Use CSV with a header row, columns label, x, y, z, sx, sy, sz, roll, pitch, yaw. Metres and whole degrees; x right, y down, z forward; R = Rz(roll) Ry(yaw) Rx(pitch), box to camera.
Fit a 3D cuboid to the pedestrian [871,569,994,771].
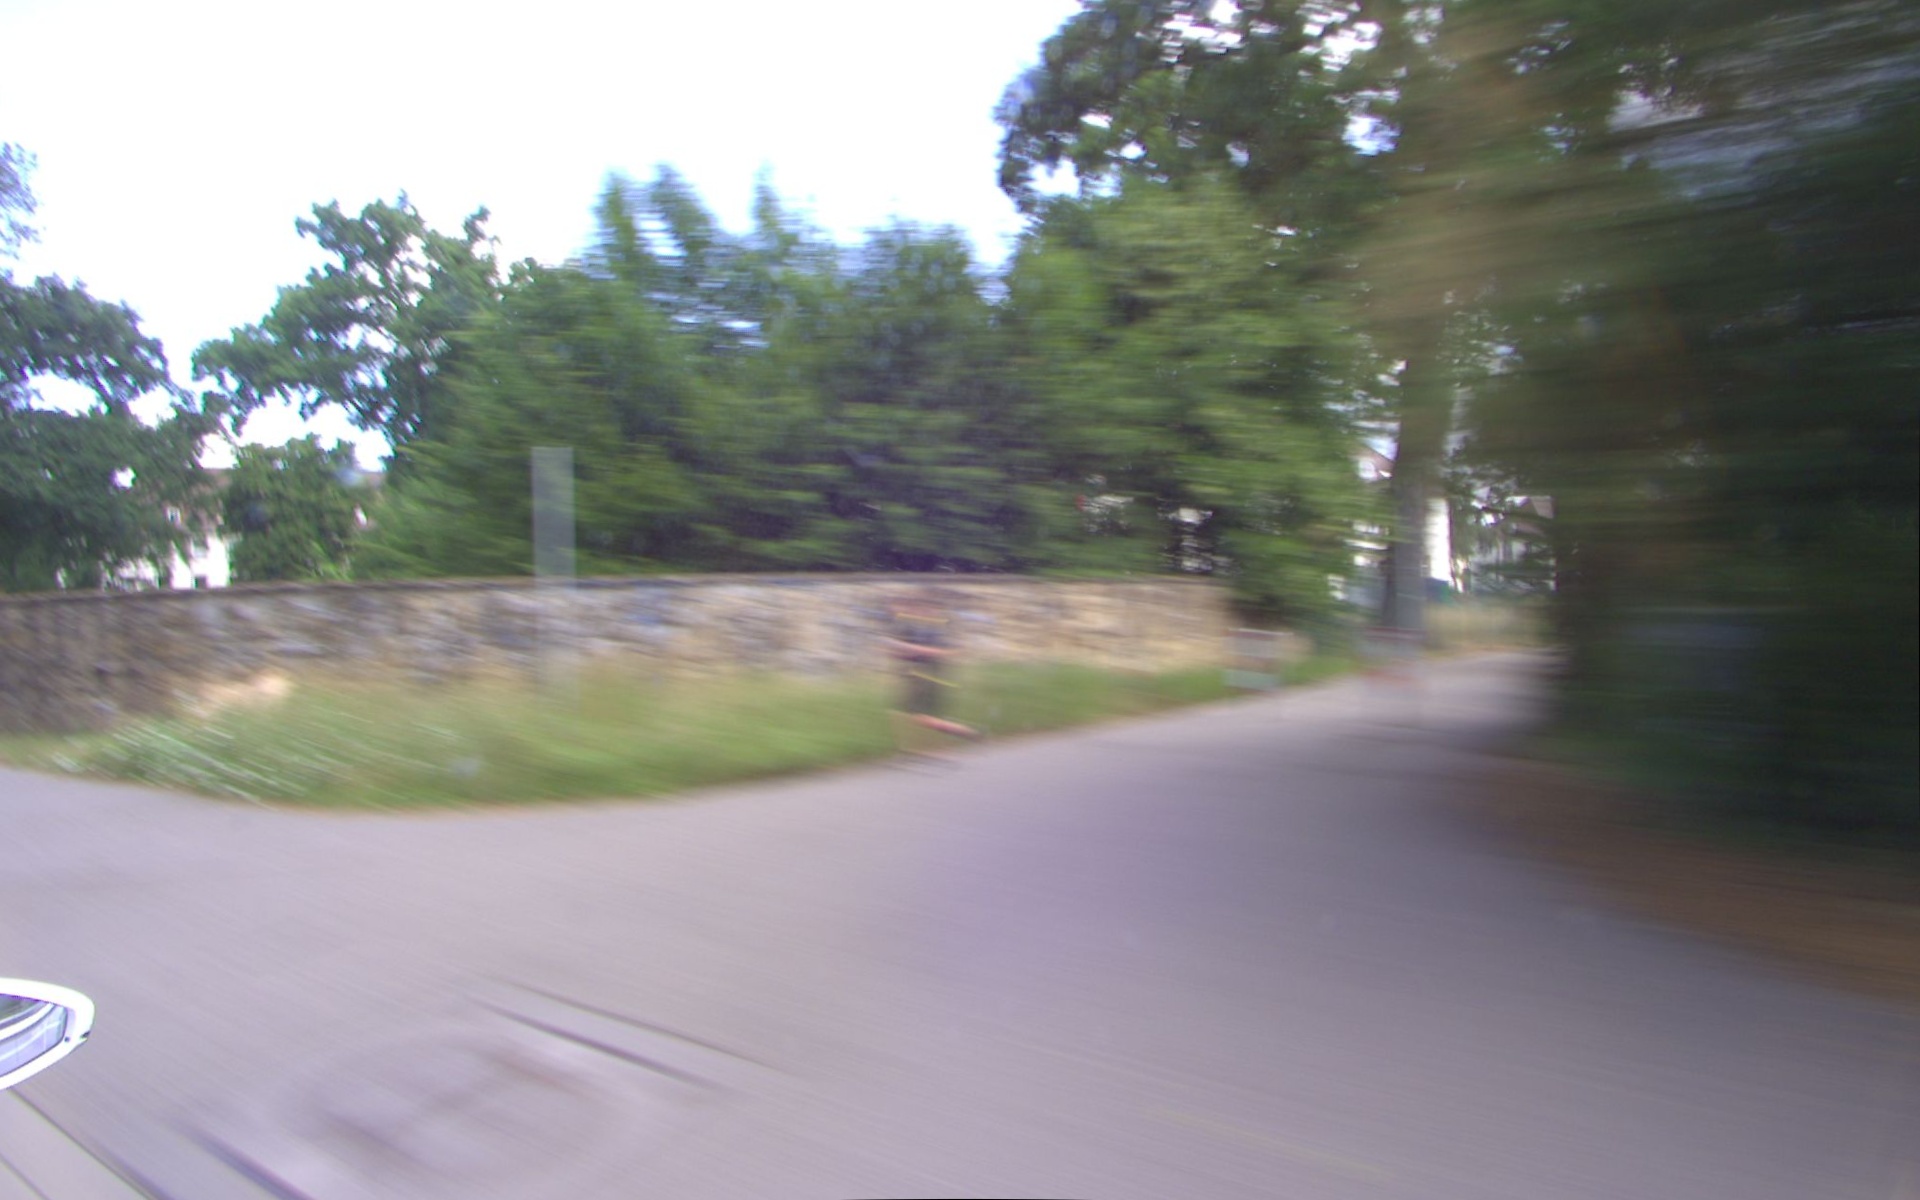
label,x,y,z,sx,sy,sz,roll,pitch,yaw
pedestrian,-0.238,0.585,8.834,0.824,1.673,0.620,-2,0,-40
